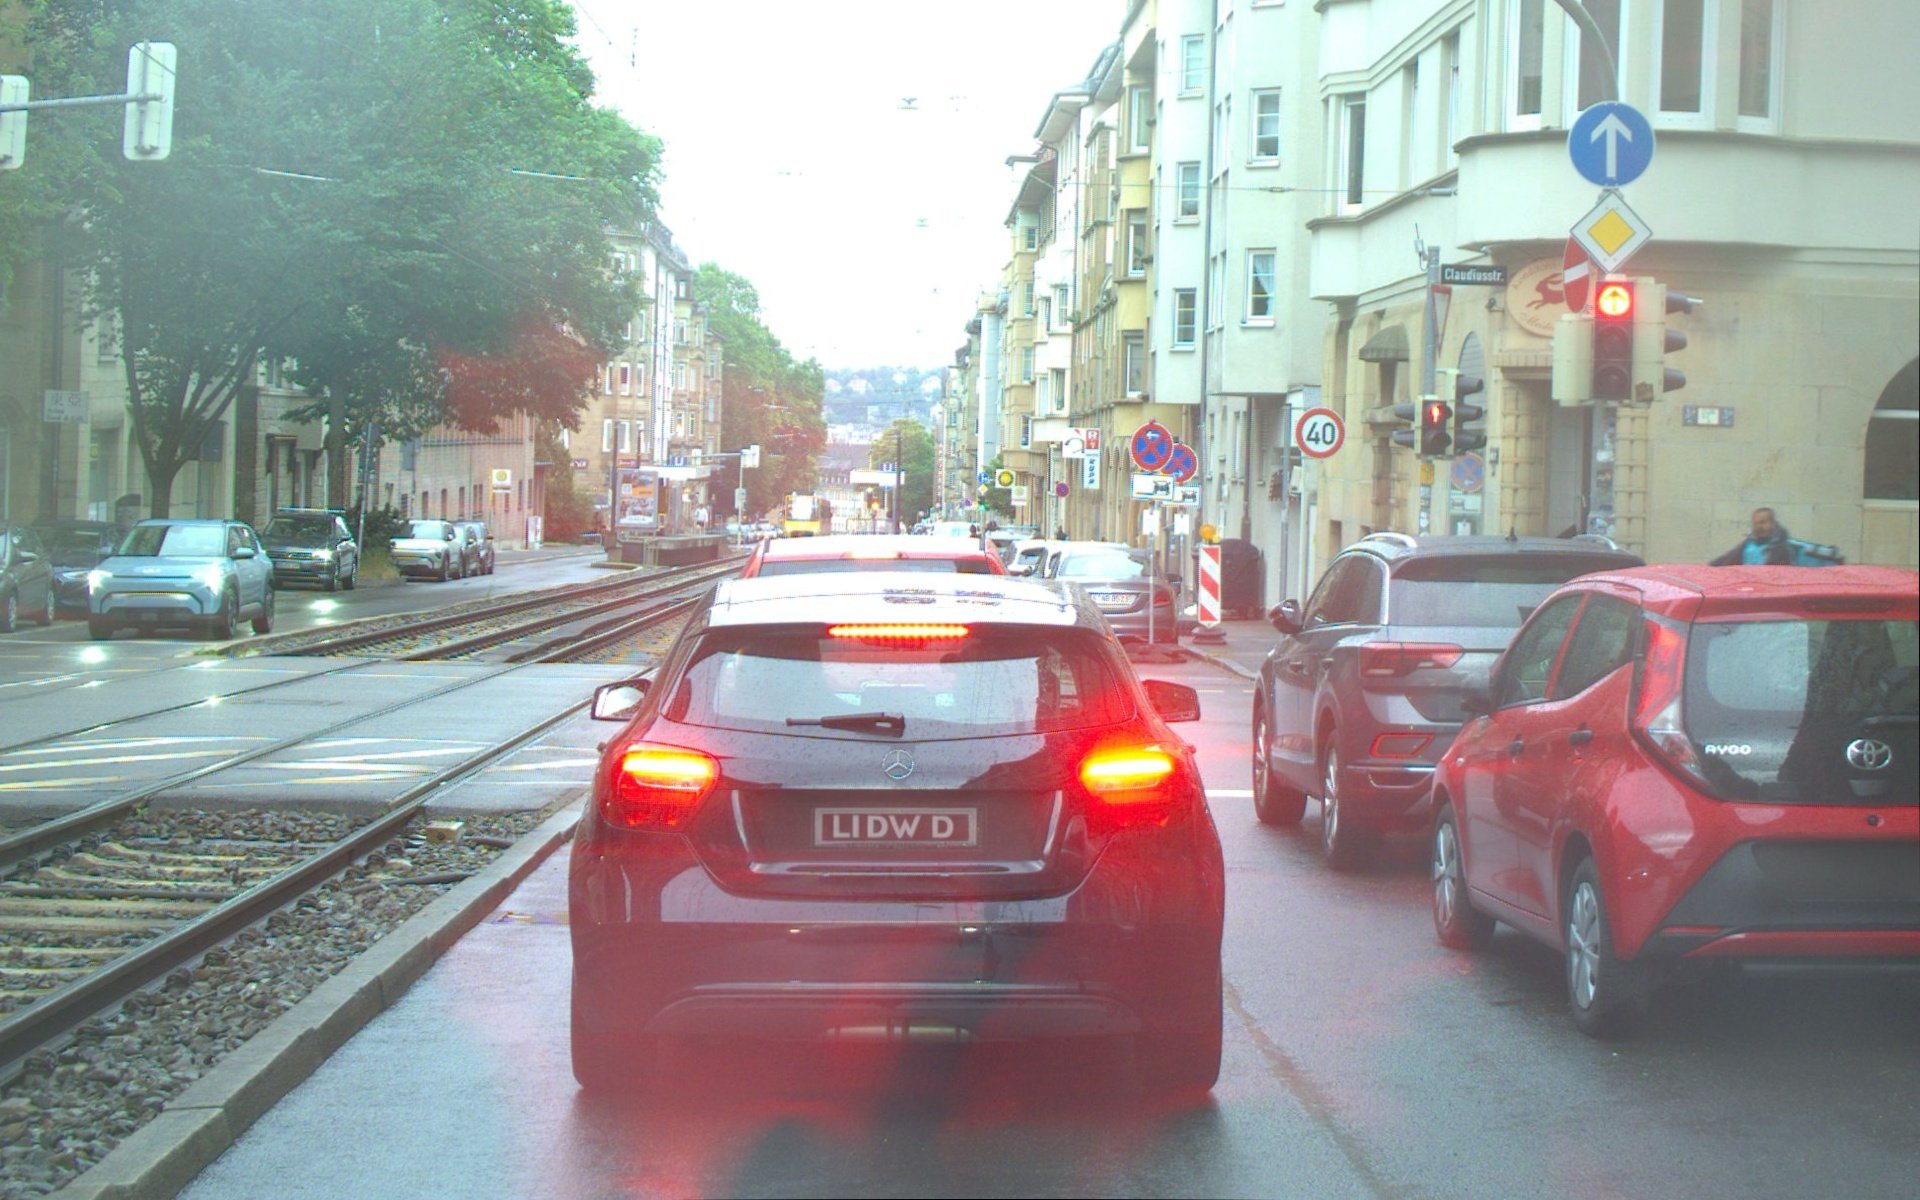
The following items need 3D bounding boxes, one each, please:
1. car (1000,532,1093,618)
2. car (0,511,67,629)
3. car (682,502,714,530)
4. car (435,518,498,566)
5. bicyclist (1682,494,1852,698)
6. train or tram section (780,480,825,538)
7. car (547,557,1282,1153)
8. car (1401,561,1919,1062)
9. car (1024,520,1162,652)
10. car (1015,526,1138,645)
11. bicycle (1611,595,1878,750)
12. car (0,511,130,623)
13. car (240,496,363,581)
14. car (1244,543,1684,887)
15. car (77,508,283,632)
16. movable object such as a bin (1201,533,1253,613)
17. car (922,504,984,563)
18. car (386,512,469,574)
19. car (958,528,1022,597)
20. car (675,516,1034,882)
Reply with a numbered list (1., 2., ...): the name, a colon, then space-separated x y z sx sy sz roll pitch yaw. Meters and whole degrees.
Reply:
1. car: 1.557 -0.476 62.804 1.544 1.481 3.548 1 1 -1
2. car: -13.485 -0.418 46.977 1.752 1.547 4.036 1 0 -4
3. car: -12.422 -3.966 163.121 1.377 1.245 3.298 1 0 -2
4. car: -14.322 -1.673 99.859 1.448 1.326 3.272 1 0 -2
5. bicyclist: 6.445 -0.034 27.519 1.250 1.592 0.887 1 0 10
6. train or tram section: -11.046 -6.373 241.789 2.783 3.847 10.430 1 0 -1
7. car: -0.140 0.620 10.736 1.829 1.453 4.104 1 1 -1
8. car: 2.636 0.614 11.803 1.642 1.443 3.299 1 1 -3
9. car: 1.665 -0.201 43.919 1.544 1.585 3.548 1 1 -1
10. car: 1.611 -0.234 48.394 1.544 1.585 3.548 1 1 -1
11. bicycle: 6.261 0.566 27.546 2.031 1.182 0.826 1 0 10
12. car: -13.736 -0.502 52.007 1.716 1.605 3.919 1 0 -5
13. car: -13.950 -1.291 72.986 1.875 1.731 3.918 1 0 -1
14. car: 2.374 0.475 17.041 1.544 1.481 3.830 1 1 -1
15. car: -10.461 -0.402 46.362 1.898 1.582 3.973 1 0 -1
16. movable object such as a bin: 4.715 -0.481 60.850 0.878 1.384 0.982 1 0 3
17. car: -0.238 -2.189 113.556 1.993 1.870 4.000 1 0 -1
18. car: -13.982 -1.494 90.450 1.589 1.575 3.918 1 0 -1
19. car: 0.642 -0.823 74.873 1.294 1.437 2.929 1 1 -1
20. car: -0.491 0.423 17.123 1.565 1.604 3.814 1 0 -1
